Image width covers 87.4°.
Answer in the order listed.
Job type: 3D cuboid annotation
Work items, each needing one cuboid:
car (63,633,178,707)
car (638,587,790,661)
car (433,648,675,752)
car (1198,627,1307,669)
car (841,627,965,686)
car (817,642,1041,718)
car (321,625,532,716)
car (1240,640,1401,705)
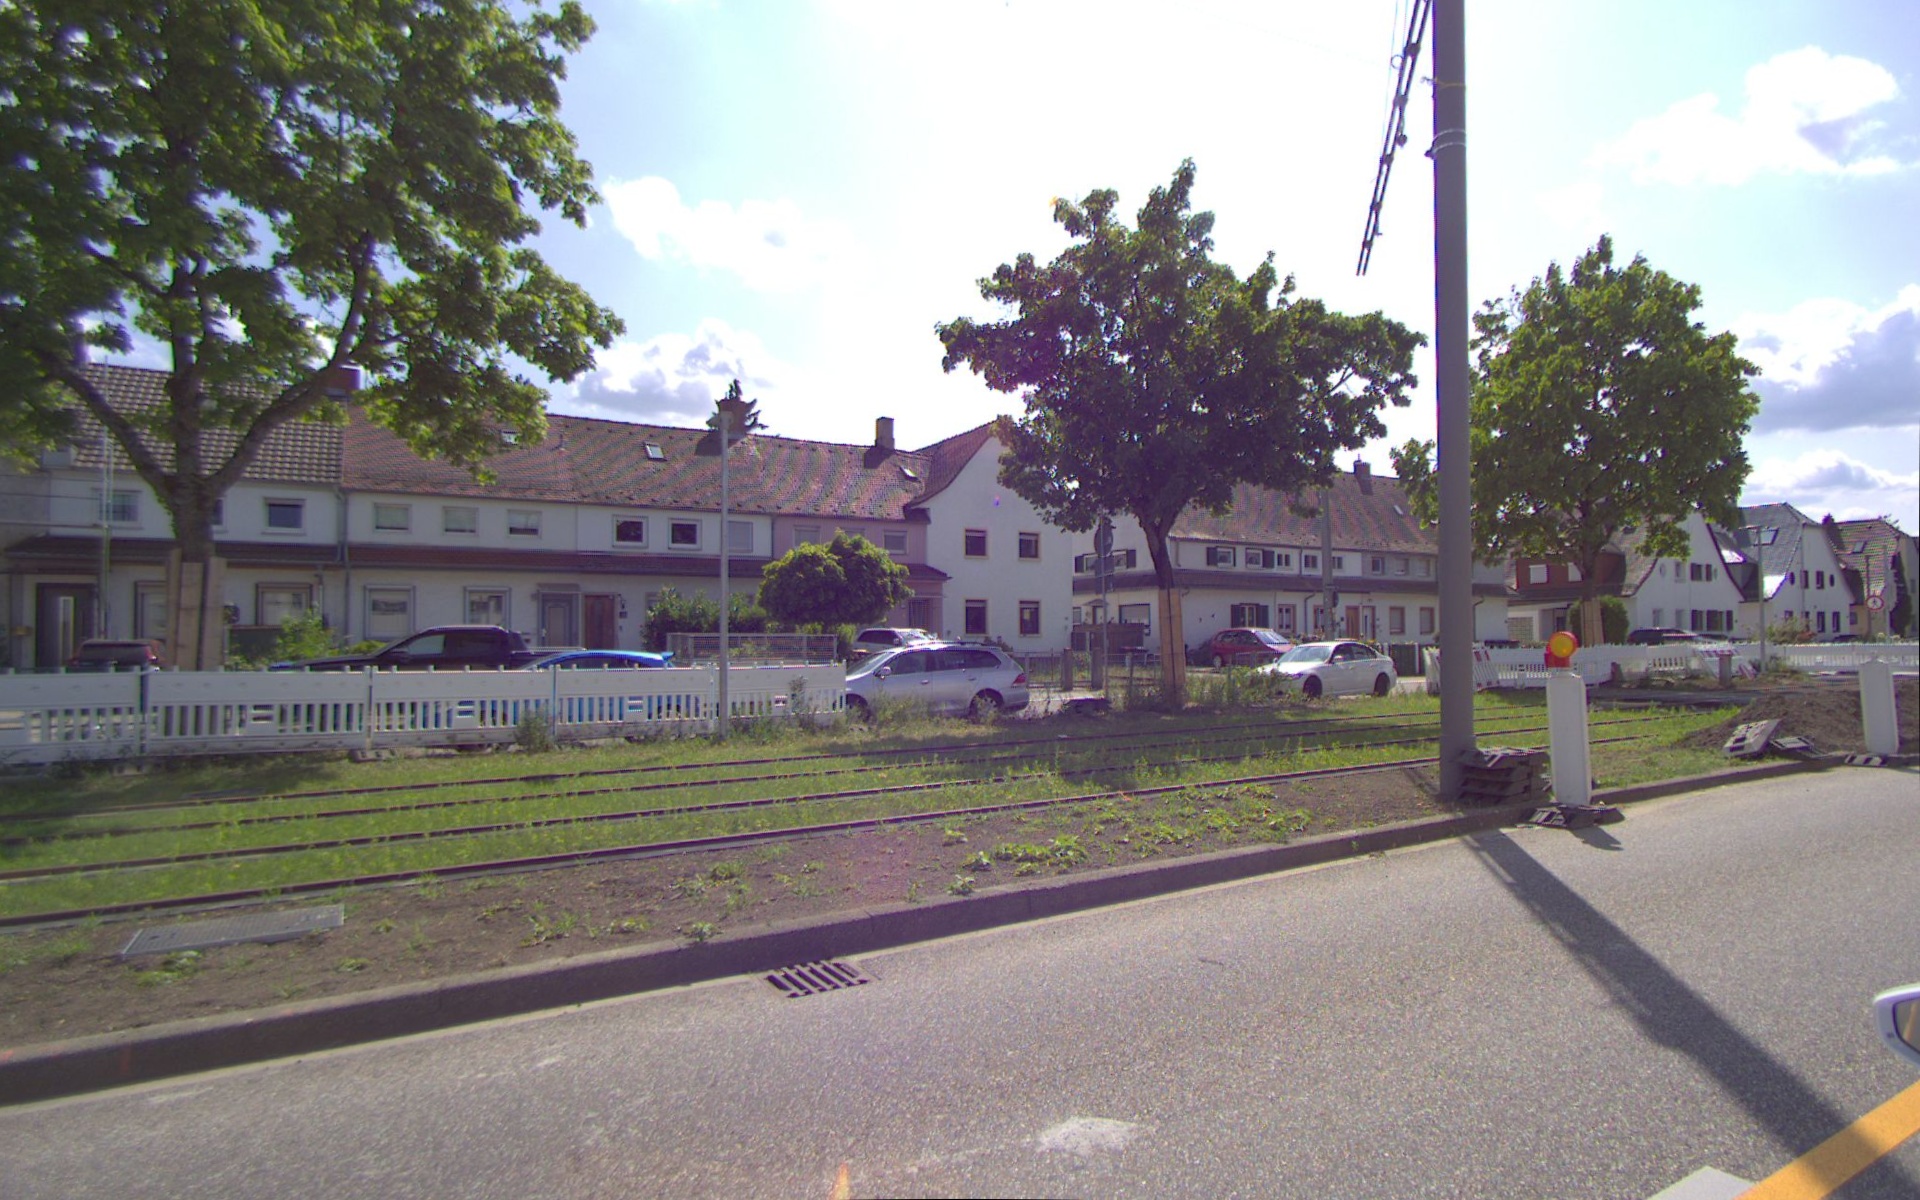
[{"bbox_3d":[-17.957,1.449,21.598,1.269,1.398,2.796,1,-1,-27],"label":"car"},{"bbox_3d":[-7.255,0.710,29.721,3.955,2.040,1.983,2,-1,-31],"label":"car"},{"bbox_3d":[-5.959,1.404,14.835,3.136,1.342,1.332,1,-2,-33],"label":"car"},{"bbox_3d":[11.288,1.859,38.956,1.706,1.529,3.966,1,-3,-31],"label":"car"},{"bbox_3d":[-1.935,1.780,32.876,1.785,1.708,4.369,2,-1,-40],"label":"car"},{"bbox_3d":[-0.519,1.344,17.676,3.705,1.192,1.496,1,-2,-31],"label":"car"},{"bbox_3d":[-9.635,1.226,18.265,3.273,1.515,1.376,1,-2,-31],"label":"car"},{"bbox_3d":[8.653,1.677,23.949,4.211,1.395,1.530,1,-2,-36],"label":"car"}]
